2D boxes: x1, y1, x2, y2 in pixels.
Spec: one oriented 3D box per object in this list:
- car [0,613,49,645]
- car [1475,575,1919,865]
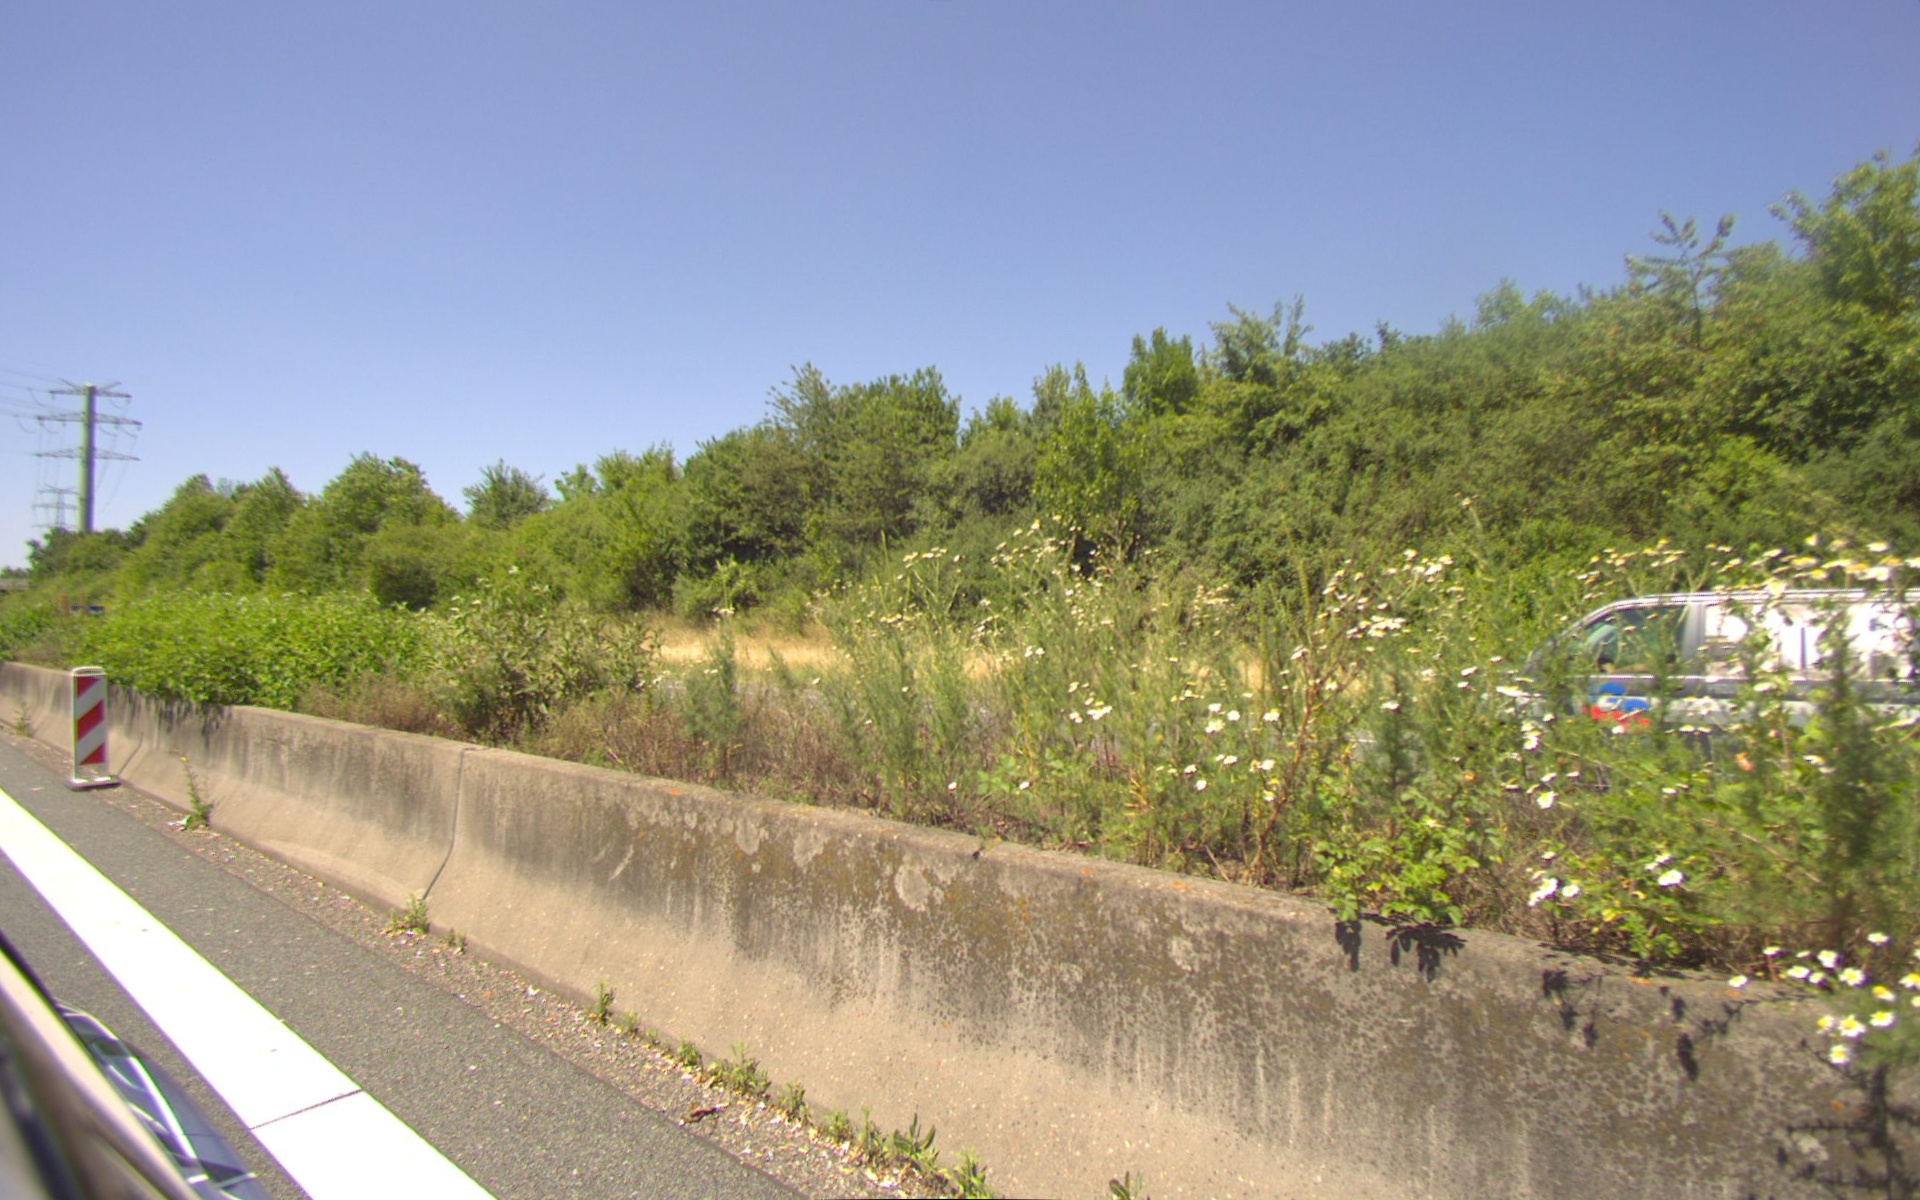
[{"bbox_3d":[-89.175,2.715,96.262,7.672,2.894,2.734,-1,0,41],"label":"car"},{"bbox_3d":[6.850,0.872,8.258,4.406,2.029,1.942,-1,-2,39],"label":"car"}]
